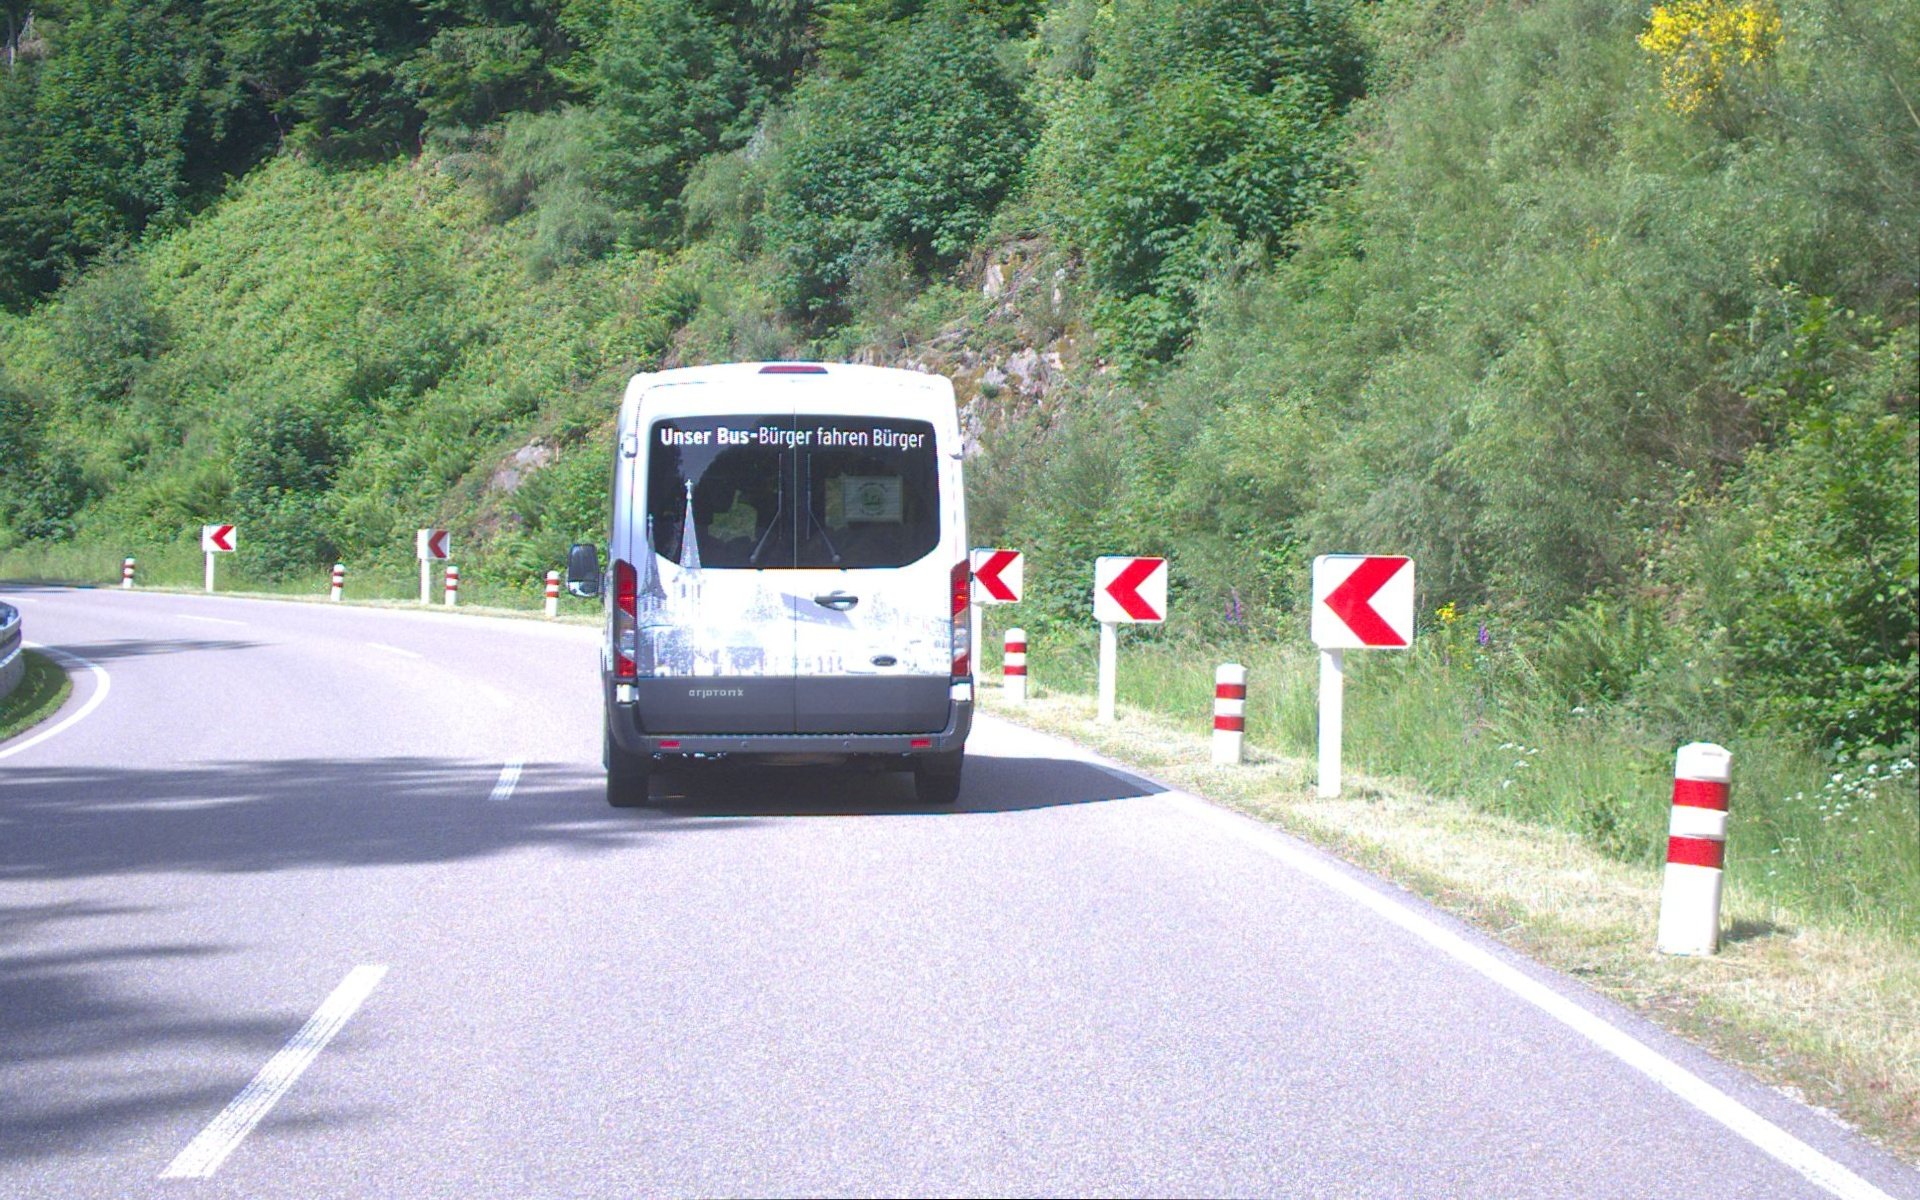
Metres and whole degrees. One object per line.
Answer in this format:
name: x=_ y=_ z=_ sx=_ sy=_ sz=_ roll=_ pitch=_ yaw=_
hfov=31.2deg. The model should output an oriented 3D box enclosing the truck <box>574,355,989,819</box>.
truck: x=-1.217 y=-0.111 z=20.722 sx=2.083 sy=2.451 sz=4.876 roll=0 pitch=1 yaw=-8
